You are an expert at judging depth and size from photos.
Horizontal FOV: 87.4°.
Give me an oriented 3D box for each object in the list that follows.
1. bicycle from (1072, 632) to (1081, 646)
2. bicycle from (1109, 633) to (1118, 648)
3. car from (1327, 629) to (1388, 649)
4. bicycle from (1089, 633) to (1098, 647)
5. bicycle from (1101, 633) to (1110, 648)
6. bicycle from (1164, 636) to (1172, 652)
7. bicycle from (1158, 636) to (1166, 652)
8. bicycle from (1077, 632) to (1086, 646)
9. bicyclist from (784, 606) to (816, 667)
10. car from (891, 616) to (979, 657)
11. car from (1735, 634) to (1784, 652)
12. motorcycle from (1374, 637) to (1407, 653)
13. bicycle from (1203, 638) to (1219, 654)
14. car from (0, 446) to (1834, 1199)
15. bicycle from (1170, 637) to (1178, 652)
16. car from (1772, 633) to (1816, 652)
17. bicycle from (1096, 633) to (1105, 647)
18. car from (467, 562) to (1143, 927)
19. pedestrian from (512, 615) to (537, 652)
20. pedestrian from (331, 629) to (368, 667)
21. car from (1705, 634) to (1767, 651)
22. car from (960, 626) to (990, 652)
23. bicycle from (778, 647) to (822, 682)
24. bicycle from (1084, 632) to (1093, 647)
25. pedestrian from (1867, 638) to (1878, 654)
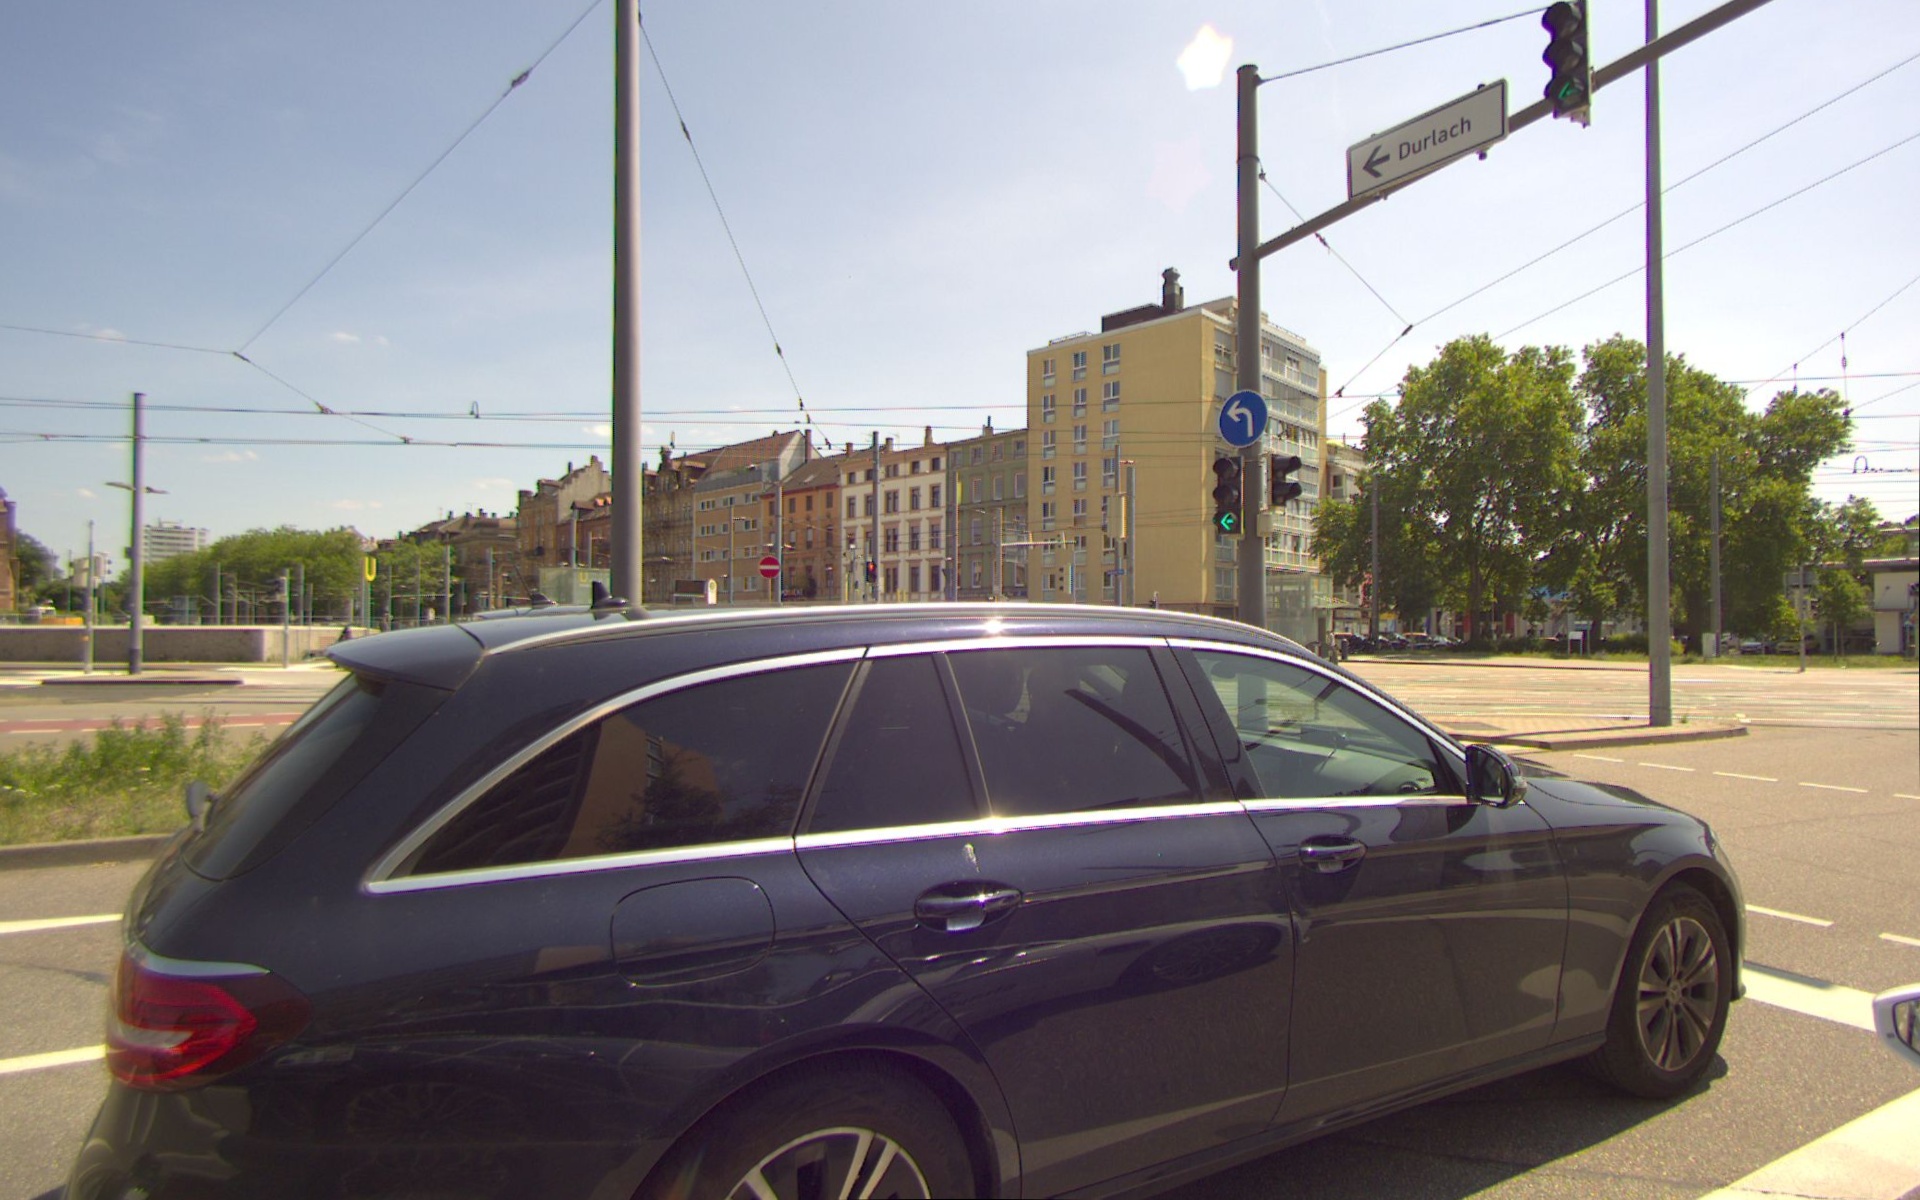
[{"bbox_3d":[8.592,2.854,74.019,0.424,1.040,1.445,0,-1,17],"label":"bicycle"},{"bbox_3d":[10.979,2.921,71.959,0.424,1.040,1.445,0,-1,17],"label":"bicycle"},{"bbox_3d":[29.850,2.935,75.421,3.936,1.439,1.993,-1,-2,37],"label":"car"},{"bbox_3d":[9.713,2.885,72.924,0.424,1.040,1.445,0,-1,17],"label":"bicycle"},{"bbox_3d":[10.465,2.905,72.223,0.424,1.040,1.445,0,-1,17],"label":"bicycle"},{"bbox_3d":[14.177,3.006,68.443,0.424,1.040,1.445,0,-1,17],"label":"bicycle"},{"bbox_3d":[13.806,2.995,68.758,0.424,1.040,1.445,0,-1,17],"label":"bicycle"},{"bbox_3d":[8.931,2.863,73.677,0.424,1.040,1.445,0,-1,17],"label":"bicycle"},{"bbox_3d":[-4.206,0.934,26.346,0.433,1.549,1.245,2,0,-26],"label":"bicyclist"},{"bbox_3d":[-1.384,1.919,53.789,1.987,2.084,4.808,2,-2,-44],"label":"car"},{"bbox_3d":[68.568,3.650,86.127,4.274,1.530,1.760,1,-2,-29],"label":"car"},{"bbox_3d":[27.101,2.809,63.278,1.887,0.974,0.524,-1,-2,31],"label":"motorcycle"},{"bbox_3d":[16.955,3.100,67.884,0.427,1.040,1.435,-1,-2,44],"label":"bicycle"},{"bbox_3d":[0.480,0.699,3.058,4.746,1.662,1.790,1,0,-29],"label":"car"},{"bbox_3d":[14.544,3.016,68.175,0.424,1.040,1.445,0,-1,17],"label":"bicycle"},{"bbox_3d":[69.389,3.514,83.552,4.282,1.530,1.756,1,-2,-34],"label":"car"},{"bbox_3d":[10.152,2.898,72.624,0.424,1.040,1.445,0,-1,17],"label":"bicycle"},{"bbox_3d":[-0.889,0.688,6.084,3.692,1.597,1.736,1,-2,-29],"label":"car"},{"bbox_3d":[-21.814,1.687,50.326,1.114,1.837,0.677,-1,-2,38],"label":"pedestrian"},{"bbox_3d":[-21.981,1.718,36.184,0.978,1.352,0.527,0,-1,3],"label":"pedestrian"},{"bbox_3d":[71.304,3.907,92.375,4.246,1.530,1.771,-1,-2,26],"label":"car"},{"bbox_3d":[0.999,2.727,70.407,1.803,1.773,3.999,0,-2,-3],"label":"car"},{"bbox_3d":[-4.177,1.663,26.197,0.620,0.866,1.888,1,-2,-26],"label":"bicycle"},{"bbox_3d":[9.354,2.874,73.236,0.424,1.040,1.445,0,-1,17],"label":"bicycle"},{"bbox_3d":[69.320,3.482,76.313,0.439,1.220,0.511,1,-1,-23],"label":"pedestrian"}]
